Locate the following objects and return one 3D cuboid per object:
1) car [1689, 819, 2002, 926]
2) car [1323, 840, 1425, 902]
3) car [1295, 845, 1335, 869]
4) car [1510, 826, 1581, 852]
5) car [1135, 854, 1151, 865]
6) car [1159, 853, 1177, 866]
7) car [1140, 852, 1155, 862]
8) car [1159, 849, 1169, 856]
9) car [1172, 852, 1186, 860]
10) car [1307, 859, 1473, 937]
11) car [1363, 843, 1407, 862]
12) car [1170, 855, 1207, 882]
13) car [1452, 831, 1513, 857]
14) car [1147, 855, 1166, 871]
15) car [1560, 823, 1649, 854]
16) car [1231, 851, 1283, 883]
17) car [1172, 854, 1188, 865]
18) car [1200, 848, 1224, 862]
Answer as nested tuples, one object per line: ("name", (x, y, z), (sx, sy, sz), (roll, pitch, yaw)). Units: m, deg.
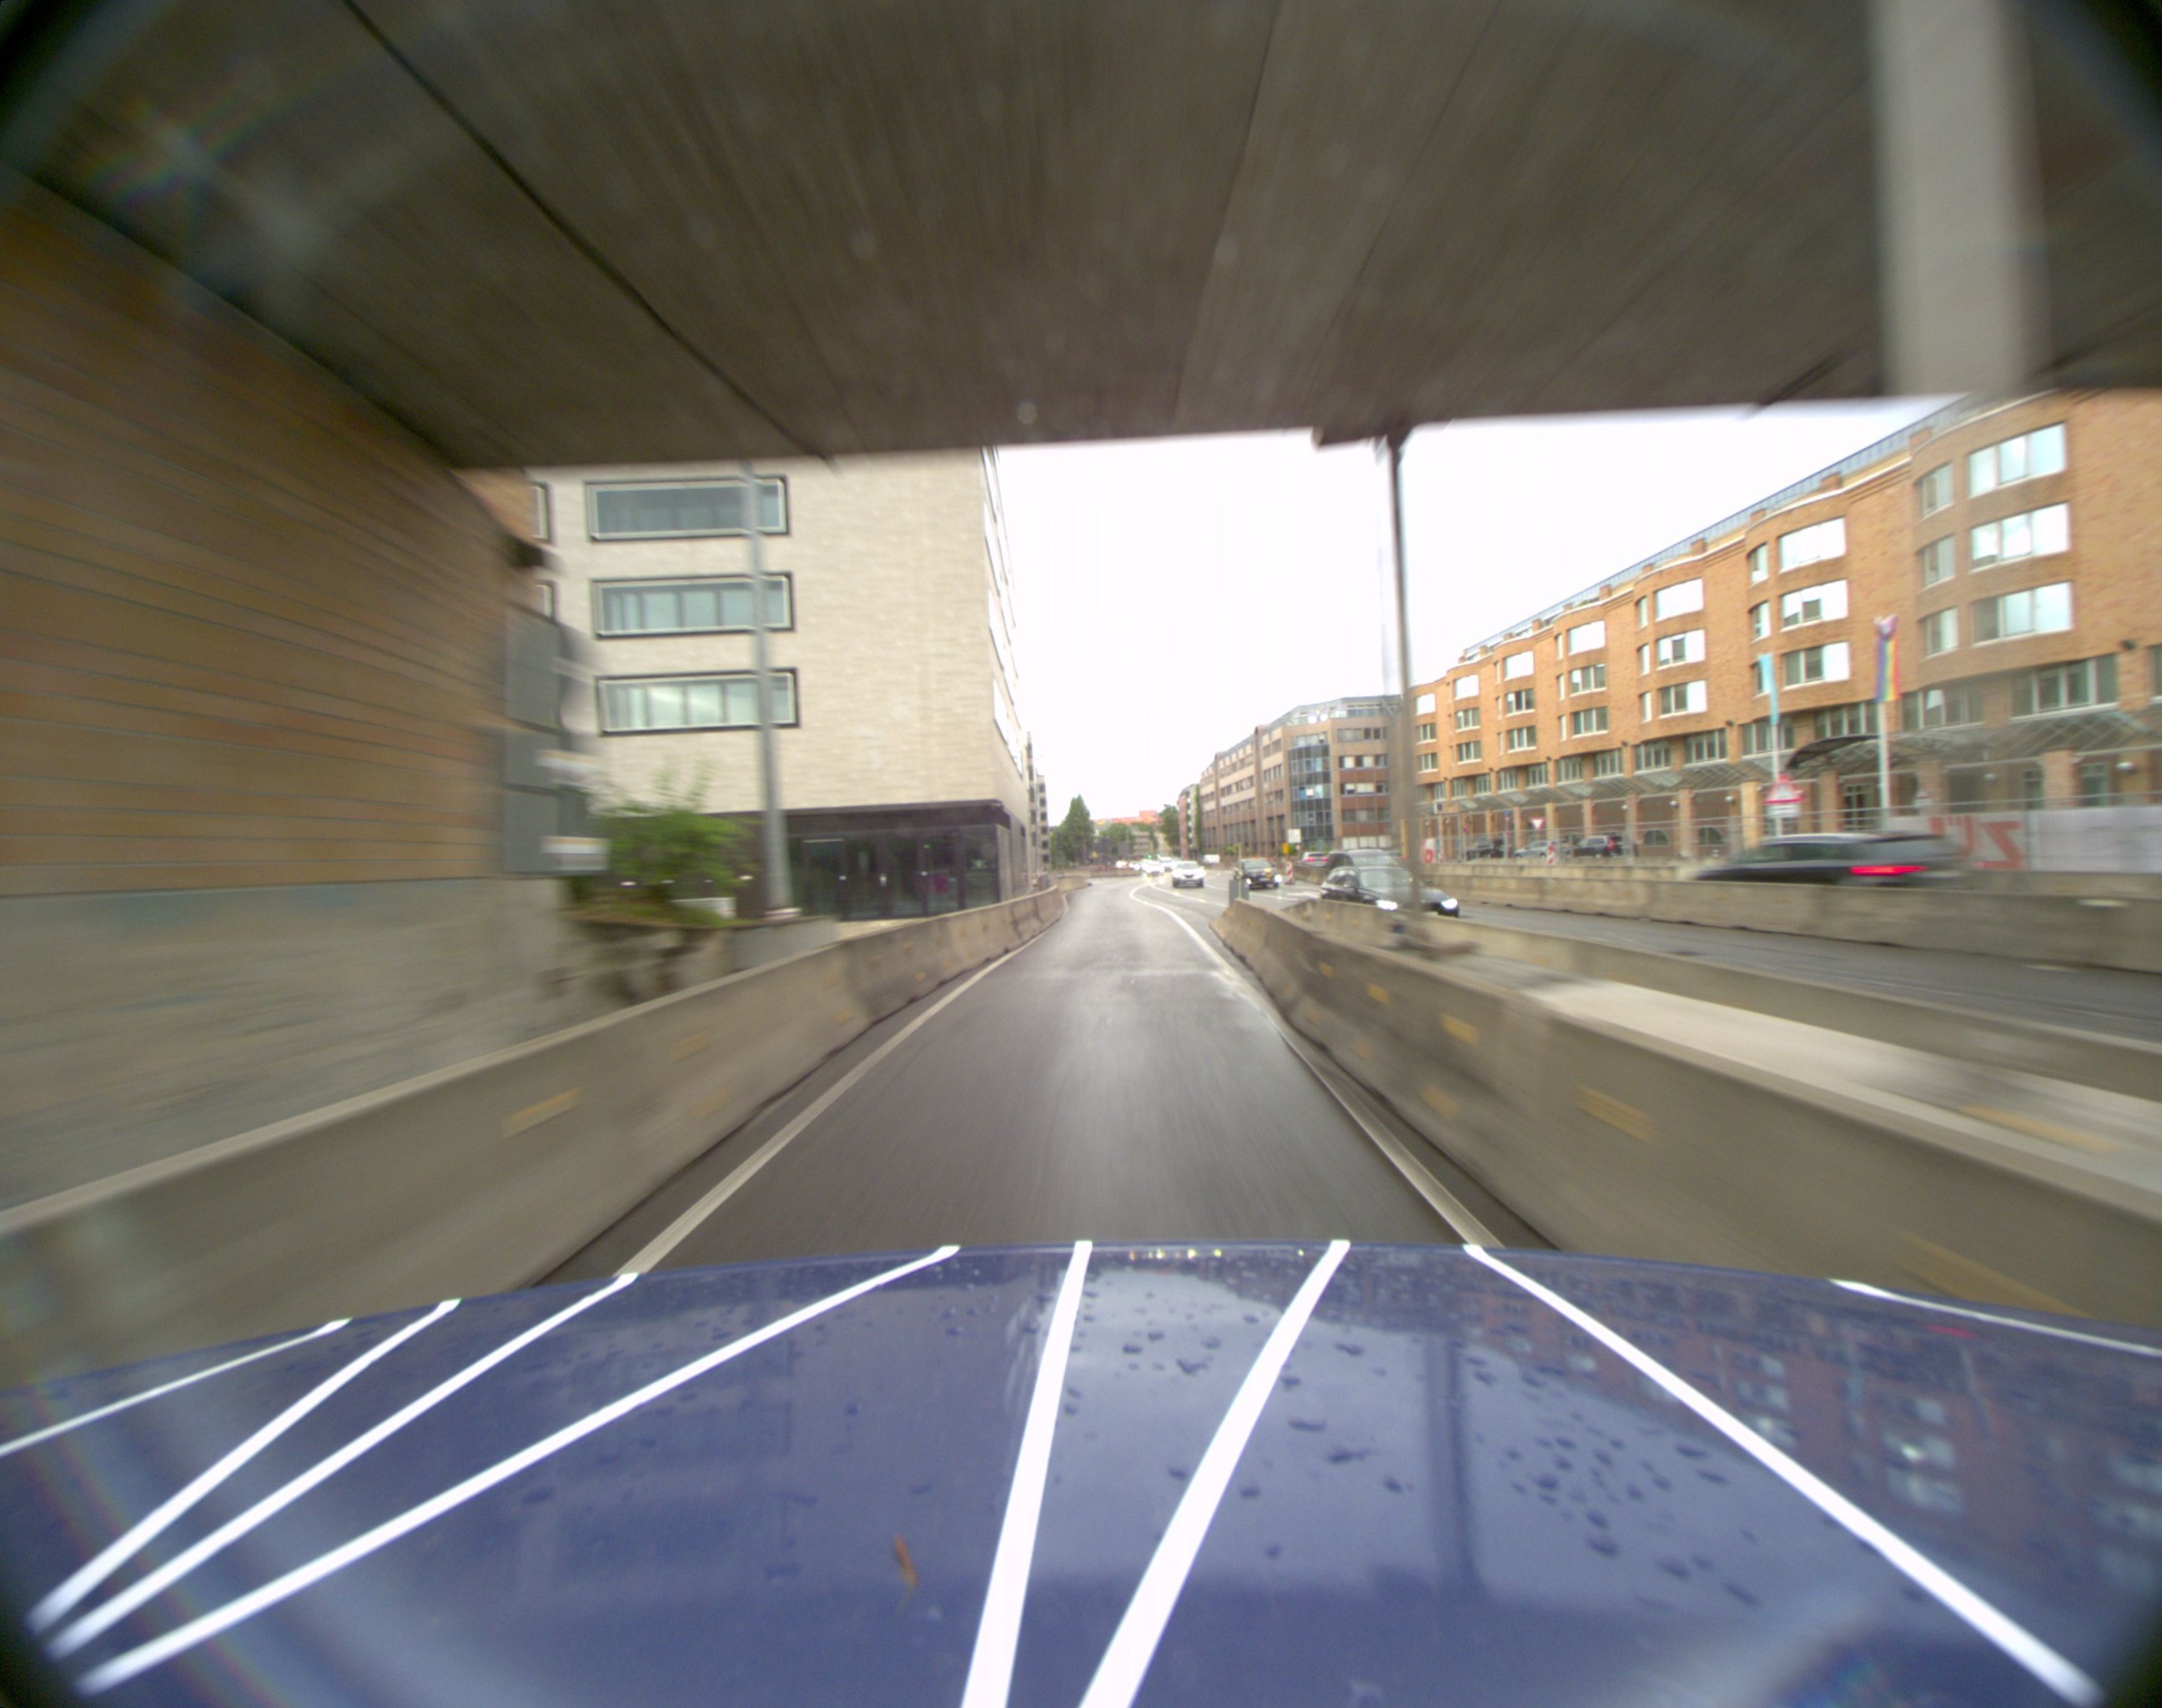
("car", (13.573, 0.325, 13.896), (1.810, 1.613, 3.904), (-2, -1, 2))
("car", (9.730, 0.527, 25.612), (1.798, 1.790, 4.251), (-3, 0, 2))
("car", (17.587, 0.248, 57.267), (1.997, 1.613, 4.705), (-2, -1, 7))
("car", (32.933, -1.040, 54.036), (1.999, 1.584, 4.539), (-3, 0, -3))
("car", (8.982, 0.784, 109.733), (1.772, 1.524, 4.655), (-3, 0, -1))
("car", (11.517, 0.706, 100.810), (1.772, 1.524, 4.655), (-3, 0, -1))
("car", (10.768, 0.492, 123.162), (1.772, 1.524, 4.655), (-3, 0, -1))
("car", (20.330, -0.384, 186.571), (1.890, 1.773, 4.877), (-3, 0, 2))
("car", (18.715, 0.324, 145.305), (1.999, 1.450, 4.228), (-3, 0, -1))
("car", (6.828, 0.889, 17.397), (1.772, 1.435, 4.656), (-3, 0, -1))
("car", (25.243, -0.099, 63.265), (1.765, 1.517, 4.363), (-2, 0, -2))
("car", (6.732, 0.886, 48.047), (1.772, 1.524, 4.657), (-3, 0, 2))
("car", (32.376, -0.745, 61.412), (1.999, 1.875, 5.013), (-3, 0, -3))
("car", (8.107, 0.931, 81.340), (1.771, 1.524, 4.659), (-3, 0, 7))
("car", (33.277, -0.949, 48.478), (1.999, 1.680, 5.049), (-3, 0, -2))
("car", (9.355, 0.683, 40.695), (1.772, 1.524, 4.356), (-3, 0, 1))
("car", (15.106, 0.842, 116.069), (1.772, 1.524, 4.655), (-3, 0, -1))
("car", (18.860, 0.108, 109.718), (1.999, 1.874, 4.867), (-3, 0, -6))
